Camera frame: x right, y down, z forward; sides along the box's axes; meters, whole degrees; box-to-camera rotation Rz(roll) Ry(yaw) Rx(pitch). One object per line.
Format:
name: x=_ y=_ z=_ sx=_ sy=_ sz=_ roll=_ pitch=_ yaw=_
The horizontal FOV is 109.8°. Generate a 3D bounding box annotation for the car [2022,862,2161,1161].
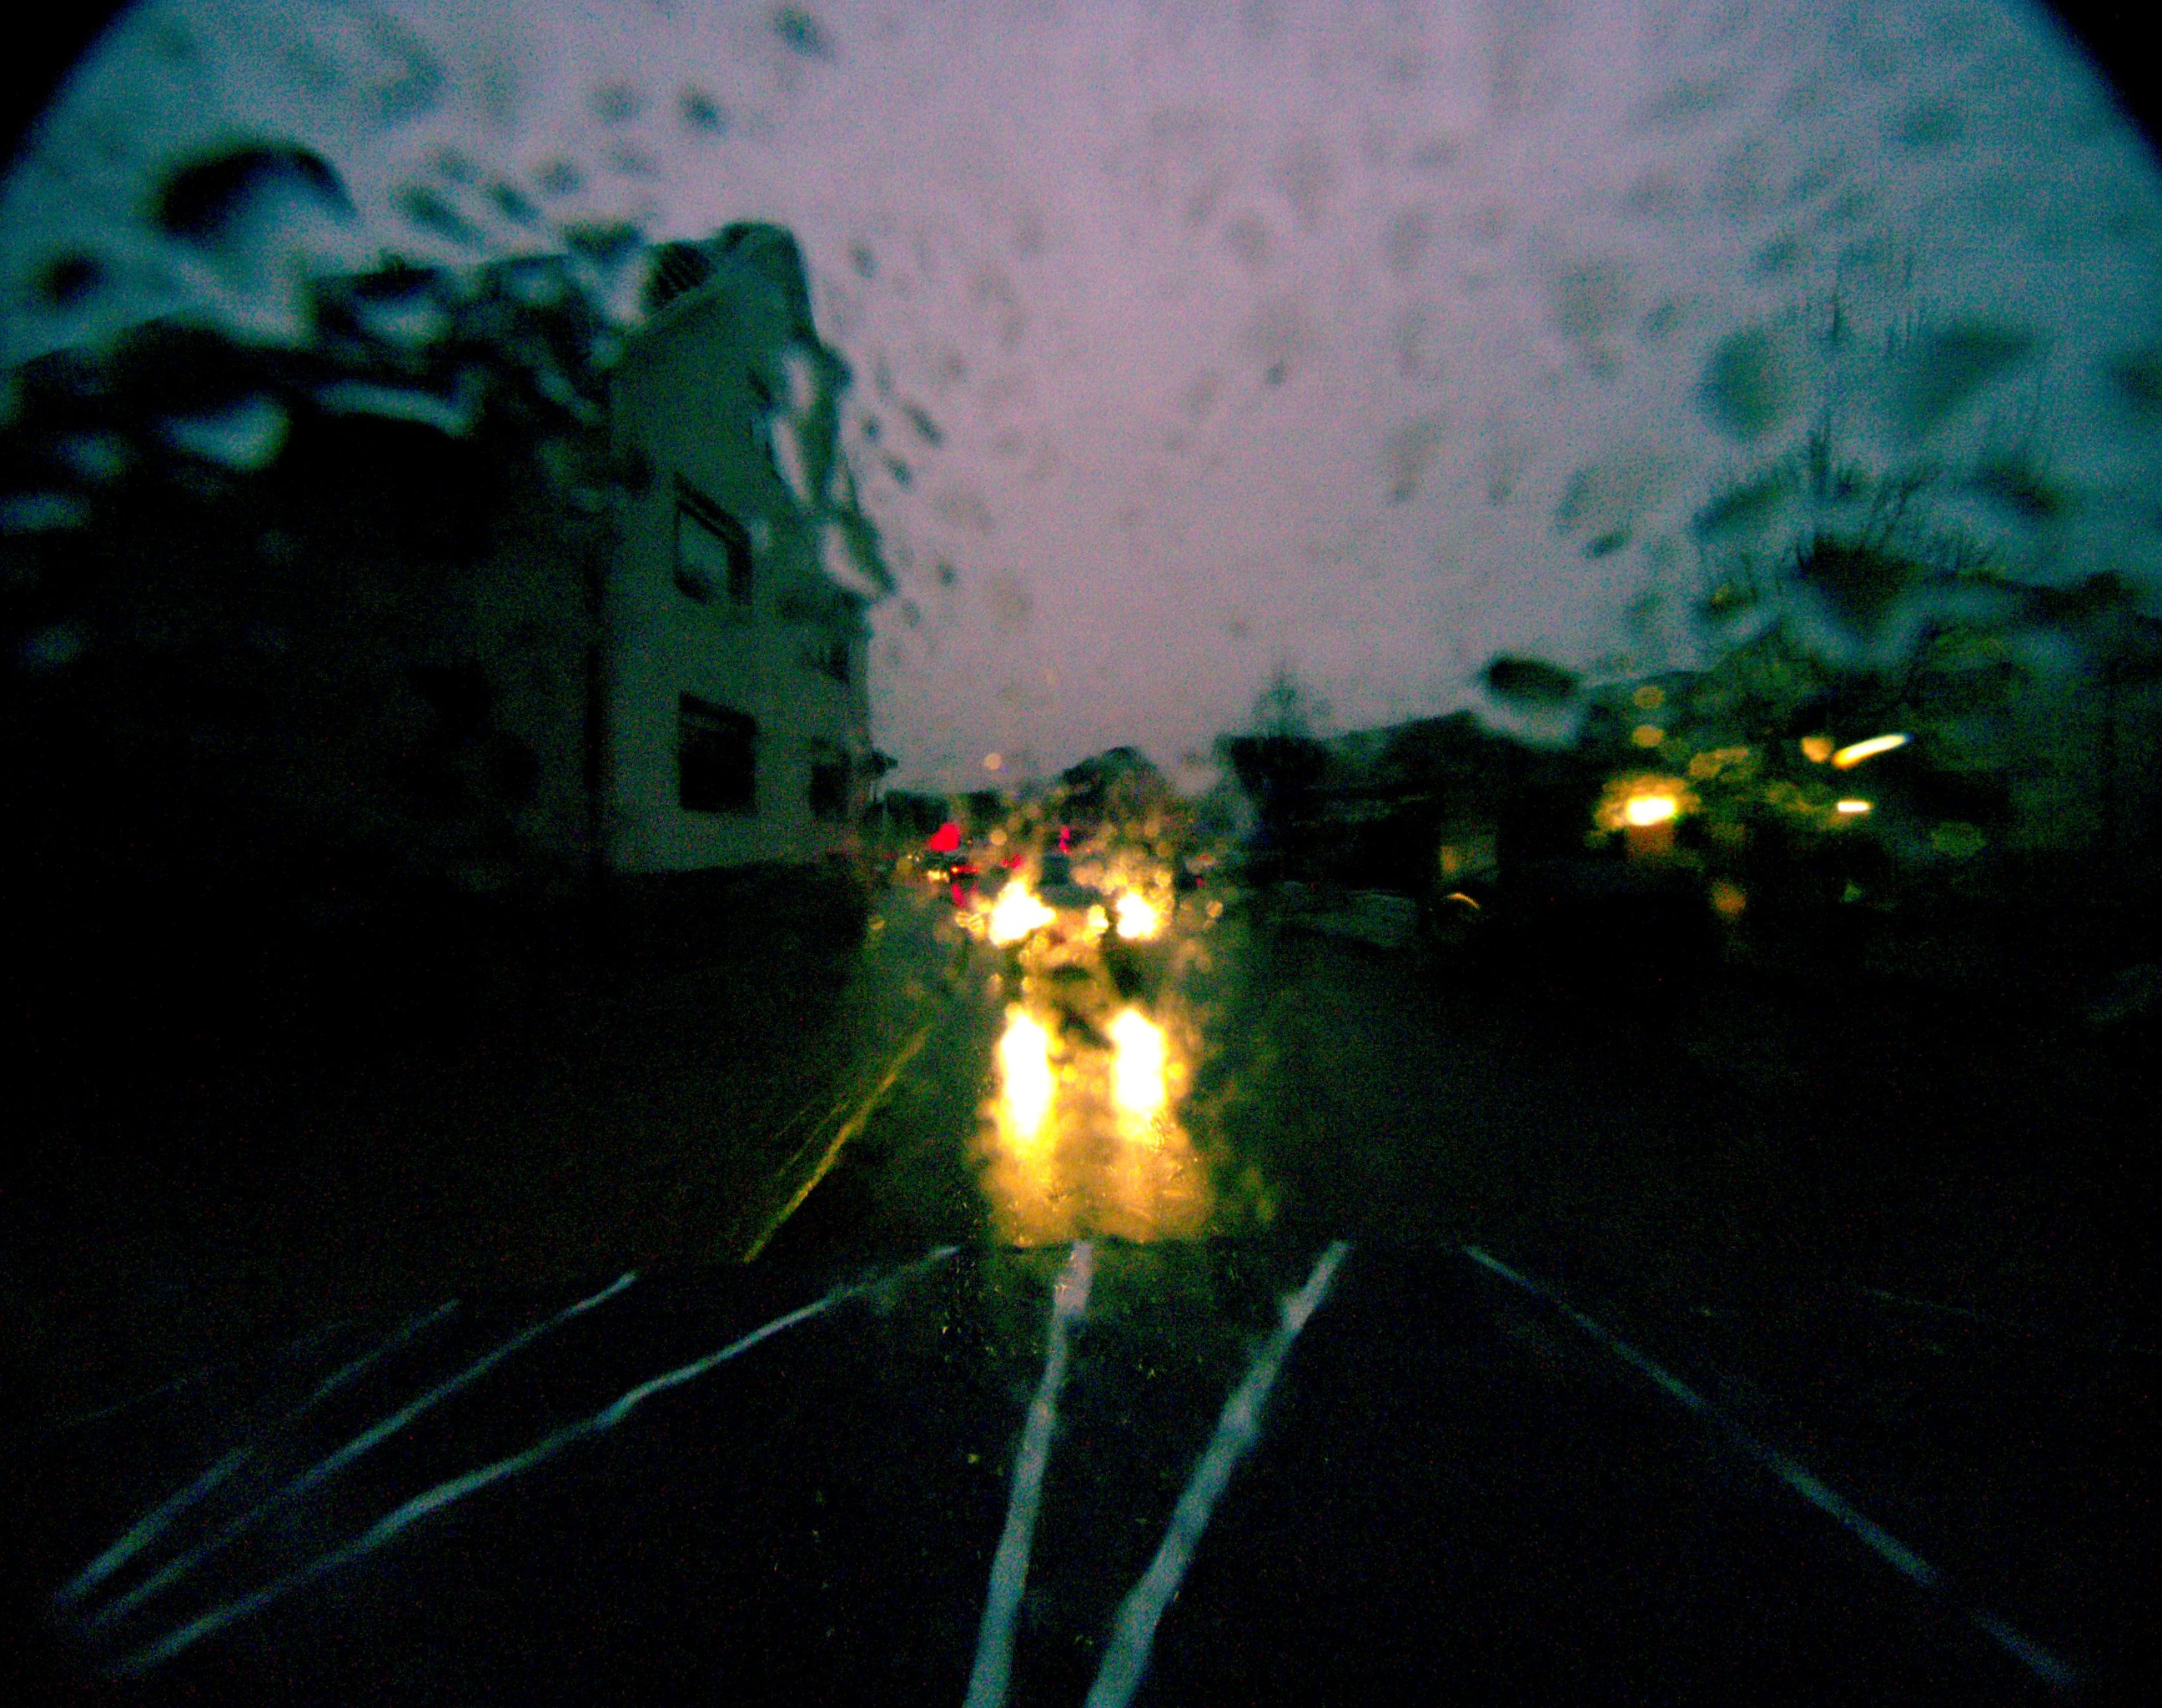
car: x=6.458 y=0.806 z=2.612 sx=1.697 sy=1.507 sz=3.772 roll=-2 pitch=0 yaw=-2

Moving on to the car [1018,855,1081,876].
car: x=-2.560 y=0.989 z=62.084 sx=4.775 sy=1.625 sz=1.997 roll=1 pitch=-2 yaw=-21

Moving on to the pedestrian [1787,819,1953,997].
pedestrian: x=8.754 y=0.568 z=8.482 sx=0.755 sy=1.856 sz=1.060 roll=-1 pitch=1 yaw=1

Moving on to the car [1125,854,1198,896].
car: x=3.183 y=0.811 z=30.919 sx=1.840 sy=1.527 sz=3.671 roll=-2 pitch=1 yaw=-13

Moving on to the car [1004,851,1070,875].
car: x=-3.300 y=0.648 z=57.272 sx=4.456 sy=1.623 sz=2.150 roll=-1 pitch=1 yaw=-29

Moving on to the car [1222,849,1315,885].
car: x=8.542 y=0.598 z=34.739 sx=3.993 sy=1.521 sz=2.002 roll=-1 pitch=0 yaw=13

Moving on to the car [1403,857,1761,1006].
car: x=6.185 y=0.816 z=10.161 sx=1.751 sy=1.464 sz=4.457 roll=-2 pitch=0 yaw=-1

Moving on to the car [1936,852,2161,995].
car: x=12.488 y=0.722 z=8.124 sx=4.078 sy=1.468 sz=1.742 roll=0 pitch=0 yaw=23

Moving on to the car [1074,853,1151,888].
car: x=1.465 y=0.782 z=37.222 sx=1.913 sy=1.524 sz=4.247 roll=-2 pitch=0 yaw=-26

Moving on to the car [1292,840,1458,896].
car: x=10.410 y=0.473 z=27.406 sx=5.387 sy=1.874 sz=2.076 roll=0 pitch=0 yaw=16

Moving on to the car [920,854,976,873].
car: x=-12.791 y=0.907 z=72.976 sx=4.888 sy=1.673 sz=1.996 roll=-1 pitch=-1 yaw=-28

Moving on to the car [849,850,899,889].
car: x=-11.468 y=0.828 z=41.844 sx=1.982 sy=1.948 sz=4.842 roll=-1 pitch=0 yaw=-23

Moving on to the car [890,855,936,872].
car: x=-17.959 y=1.018 z=81.166 sx=4.435 sy=1.790 sz=1.840 roll=-1 pitch=0 yaw=-30

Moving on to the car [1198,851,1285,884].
car: x=7.882 y=0.630 z=37.579 sx=4.107 sy=1.573 sz=1.722 roll=0 pitch=1 yaw=9

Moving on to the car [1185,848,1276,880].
car: x=7.896 y=0.534 z=40.381 sx=4.649 sy=1.644 sz=1.989 roll=0 pitch=1 yaw=9

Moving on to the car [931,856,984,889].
car: x=-8.077 y=1.149 z=49.322 sx=2.150 sy=1.850 sz=4.732 roll=-2 pitch=2 yaw=-25

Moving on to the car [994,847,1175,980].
car: x=-0.070 y=0.737 z=12.208 sx=2.270 sy=1.633 sz=5.064 roll=-1 pitch=0 yaw=-3

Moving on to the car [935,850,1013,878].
car: x=-8.408 y=0.738 z=59.667 sx=5.783 sy=1.934 sz=1.988 roll=-2 pitch=0 yaw=-16

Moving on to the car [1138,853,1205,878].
car: x=5.559 y=0.697 z=47.073 sx=4.069 sy=1.451 sz=1.758 roll=-1 pitch=1 yaw=4
